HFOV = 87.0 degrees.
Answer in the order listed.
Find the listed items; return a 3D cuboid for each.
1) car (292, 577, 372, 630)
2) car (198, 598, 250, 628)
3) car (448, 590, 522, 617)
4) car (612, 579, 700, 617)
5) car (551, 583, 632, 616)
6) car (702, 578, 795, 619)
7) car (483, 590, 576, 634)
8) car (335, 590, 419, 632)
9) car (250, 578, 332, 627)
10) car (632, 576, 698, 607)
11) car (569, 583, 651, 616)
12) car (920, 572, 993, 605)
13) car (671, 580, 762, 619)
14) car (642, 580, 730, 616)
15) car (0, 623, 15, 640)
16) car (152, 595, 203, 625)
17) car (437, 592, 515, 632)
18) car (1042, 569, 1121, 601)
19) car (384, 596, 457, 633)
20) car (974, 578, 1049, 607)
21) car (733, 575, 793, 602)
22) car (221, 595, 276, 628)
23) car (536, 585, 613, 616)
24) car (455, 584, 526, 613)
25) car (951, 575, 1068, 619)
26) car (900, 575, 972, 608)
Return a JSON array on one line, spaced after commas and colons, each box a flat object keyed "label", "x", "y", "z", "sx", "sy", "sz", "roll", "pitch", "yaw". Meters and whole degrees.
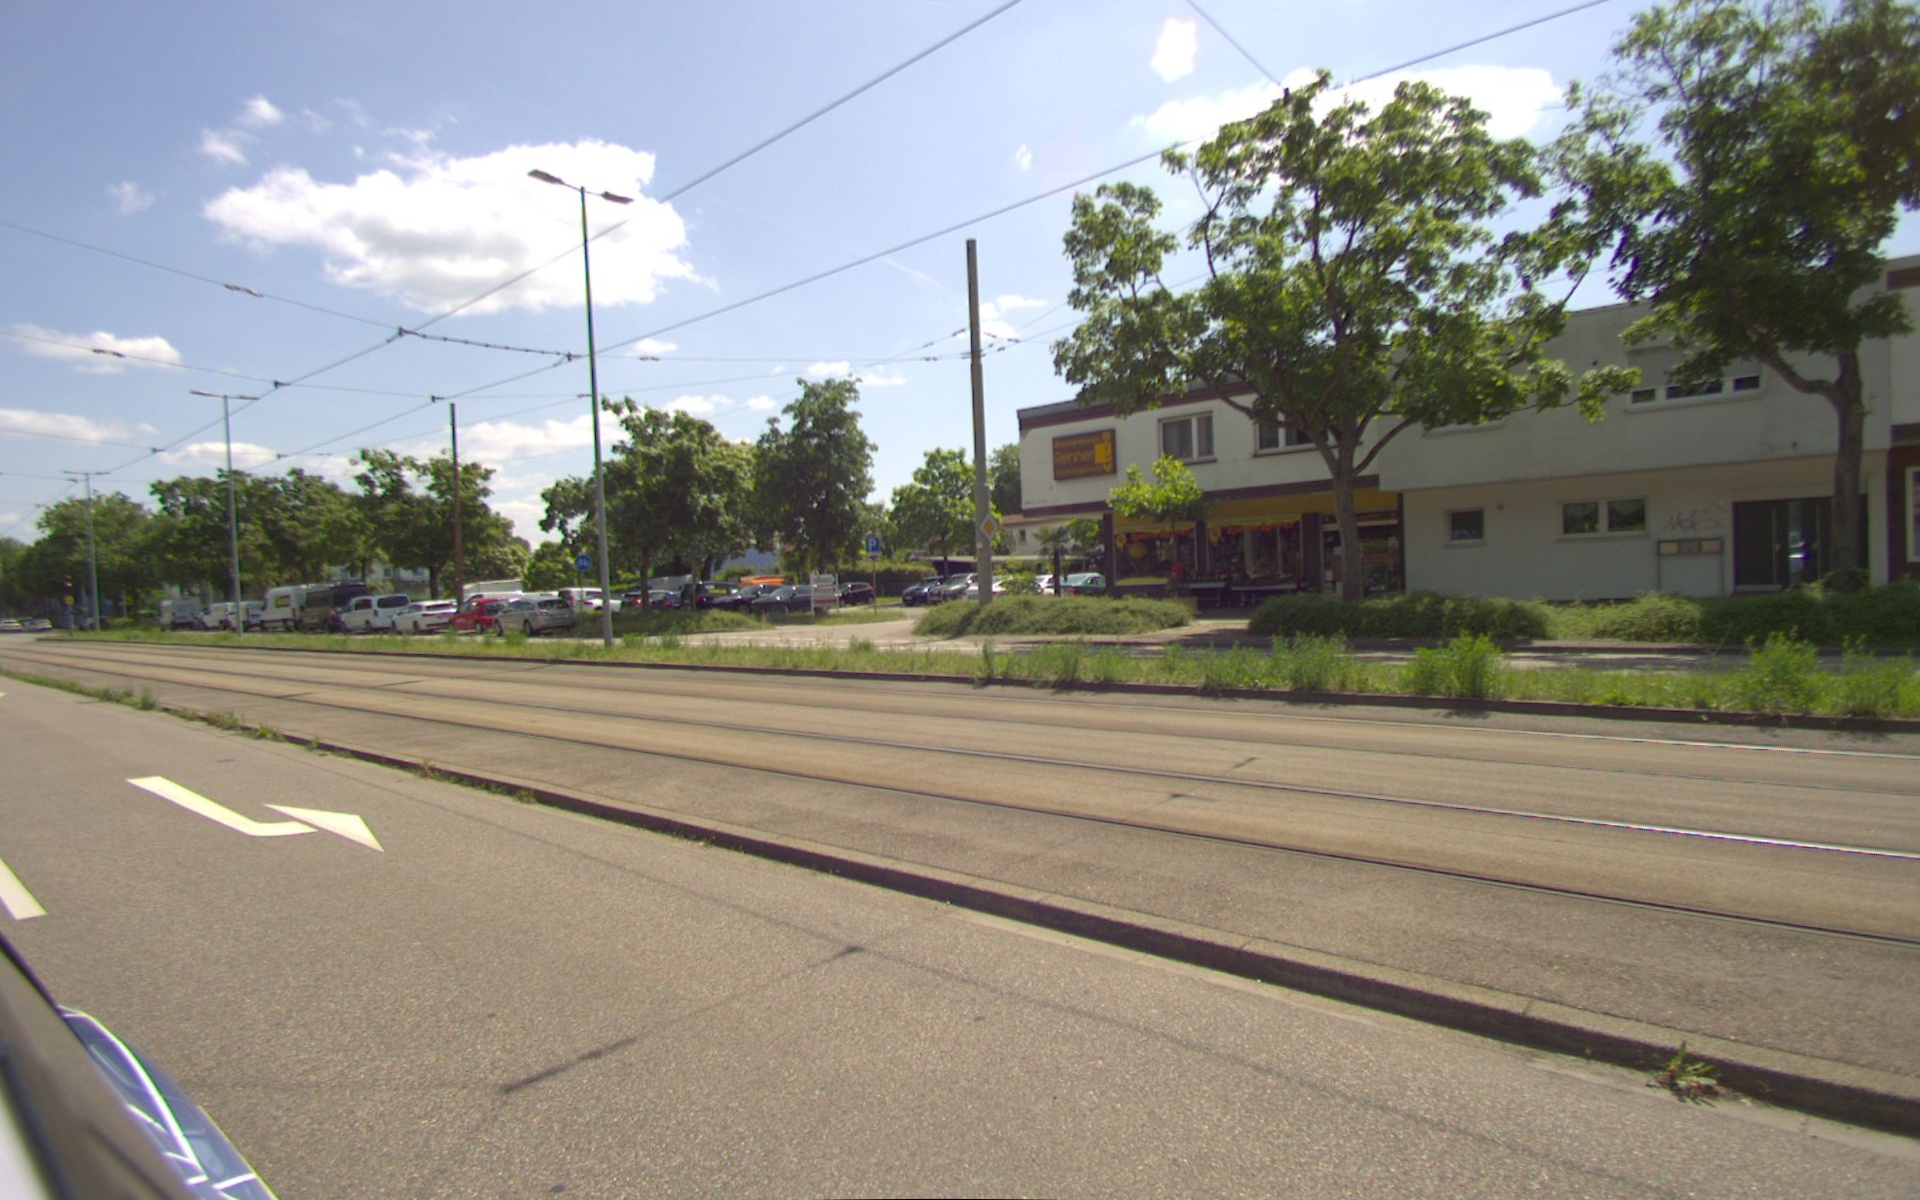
[{"label": "car", "x": -34.103, "y": 0.173, "z": 54.908, "sx": 5.031, "sy": 2.630, "sz": 2.129, "roll": 0, "pitch": 4, "yaw": 41}, {"label": "car", "x": -51.545, "y": 0.915, "z": 70.849, "sx": 4.485, "sy": 1.953, "sz": 1.773, "roll": -1, "pitch": 4, "yaw": 39}, {"label": "car", "x": -31.709, "y": 0.218, "z": 67.643, "sx": 1.802, "sy": 1.749, "sz": 4.145, "roll": 0, "pitch": 0, "yaw": 41}, {"label": "car", "x": -15.682, "y": -0.121, "z": 52.342, "sx": 1.802, "sy": 1.749, "sz": 3.946, "roll": -1, "pitch": 1, "yaw": 41}, {"label": "car", "x": -21.253, "y": -0.042, "z": 58.515, "sx": 1.902, "sy": 1.749, "sz": 3.946, "roll": -1, "pitch": 1, "yaw": 41}, {"label": "car", "x": -9.871, "y": -0.083, "z": 47.431, "sx": 1.802, "sy": 1.749, "sz": 3.946, "roll": -1, "pitch": 1, "yaw": 41}, {"label": "car", "x": -17.197, "y": 0.458, "z": 40.295, "sx": 4.550, "sy": 1.550, "sz": 1.560, "roll": 0, "pitch": 4, "yaw": 42}, {"label": "car", "x": -29.456, "y": 0.537, "z": 51.085, "sx": 4.886, "sy": 1.851, "sz": 2.129, "roll": 0, "pitch": 4, "yaw": 41}, {"label": "car", "x": -40.089, "y": 0.149, "z": 60.555, "sx": 6.699, "sy": 2.630, "sz": 2.129, "roll": -1, "pitch": 4, "yaw": 40}, {"label": "car", "x": -22.327, "y": -0.633, "z": 76.731, "sx": 1.849, "sy": 2.241, "sz": 4.595, "roll": 0, "pitch": 0, "yaw": 38}, {"label": "car", "x": -19.505, "y": -0.052, "z": 56.528, "sx": 1.802, "sy": 1.749, "sz": 3.945, "roll": 0, "pitch": 0, "yaw": 41}, {"label": "car", "x": -0.148, "y": -0.619, "z": 55.421, "sx": 1.721, "sy": 1.749, "sz": 3.942, "roll": 0, "pitch": 0, "yaw": 44}, {"label": "car", "x": -11.837, "y": -0.044, "z": 49.407, "sx": 1.878, "sy": 1.749, "sz": 3.946, "roll": -1, "pitch": 1, "yaw": 41}, {"label": "car", "x": -13.747, "y": -0.113, "z": 50.879, "sx": 1.802, "sy": 1.749, "sz": 3.945, "roll": 0, "pitch": 0, "yaw": 41}, {"label": "car", "x": -105.354, "y": 3.460, "z": 111.592, "sx": 1.658, "sy": 1.702, "sz": 3.549, "roll": -1, "pitch": 0, "yaw": -43}, {"label": "car", "x": -60.952, "y": 0.802, "z": 78.801, "sx": 4.485, "sy": 2.116, "sz": 2.046, "roll": -1, "pitch": 4, "yaw": 39}, {"label": "car", "x": -20.952, "y": 0.500, "z": 43.771, "sx": 3.644, "sy": 1.551, "sz": 1.485, "roll": -1, "pitch": 4, "yaw": 38}, {"label": "car", "x": 6.039, "y": -0.749, "z": 50.153, "sx": 1.907, "sy": 1.412, "sz": 3.944, "roll": -1, "pitch": 1, "yaw": 43}, {"label": "car", "x": -24.809, "y": 0.646, "z": 46.474, "sx": 4.358, "sy": 1.550, "sz": 1.483, "roll": 0, "pitch": 4, "yaw": 42}, {"label": "car", "x": 2.778, "y": -0.401, "z": 54.287, "sx": 1.907, "sy": 1.412, "sz": 3.944, "roll": -1, "pitch": 1, "yaw": 43}, {"label": "car", "x": -13.095, "y": -0.749, "z": 67.412, "sx": 1.759, "sy": 1.749, "sz": 3.699, "roll": 0, "pitch": 0, "yaw": 38}, {"label": "car", "x": -46.625, "y": 0.740, "z": 66.298, "sx": 4.647, "sy": 1.953, "sz": 1.772, "roll": 0, "pitch": 4, "yaw": 41}, {"label": "car", "x": -23.022, "y": 0.003, "z": 60.501, "sx": 1.802, "sy": 1.749, "sz": 3.945, "roll": 0, "pitch": 0, "yaw": 41}, {"label": "car", "x": -44.514, "y": -0.175, "z": 96.073, "sx": 2.257, "sy": 2.500, "sz": 5.629, "roll": -1, "pitch": 1, "yaw": 38}, {"label": "car", "x": 1.885, "y": -0.138, "z": 37.425, "sx": 1.907, "sy": 1.445, "sz": 4.425, "roll": -1, "pitch": 1, "yaw": 43}, {"label": "car", "x": -1.335, "y": -0.486, "z": 57.070, "sx": 1.804, "sy": 1.749, "sz": 3.942, "roll": 0, "pitch": 0, "yaw": 44}]
